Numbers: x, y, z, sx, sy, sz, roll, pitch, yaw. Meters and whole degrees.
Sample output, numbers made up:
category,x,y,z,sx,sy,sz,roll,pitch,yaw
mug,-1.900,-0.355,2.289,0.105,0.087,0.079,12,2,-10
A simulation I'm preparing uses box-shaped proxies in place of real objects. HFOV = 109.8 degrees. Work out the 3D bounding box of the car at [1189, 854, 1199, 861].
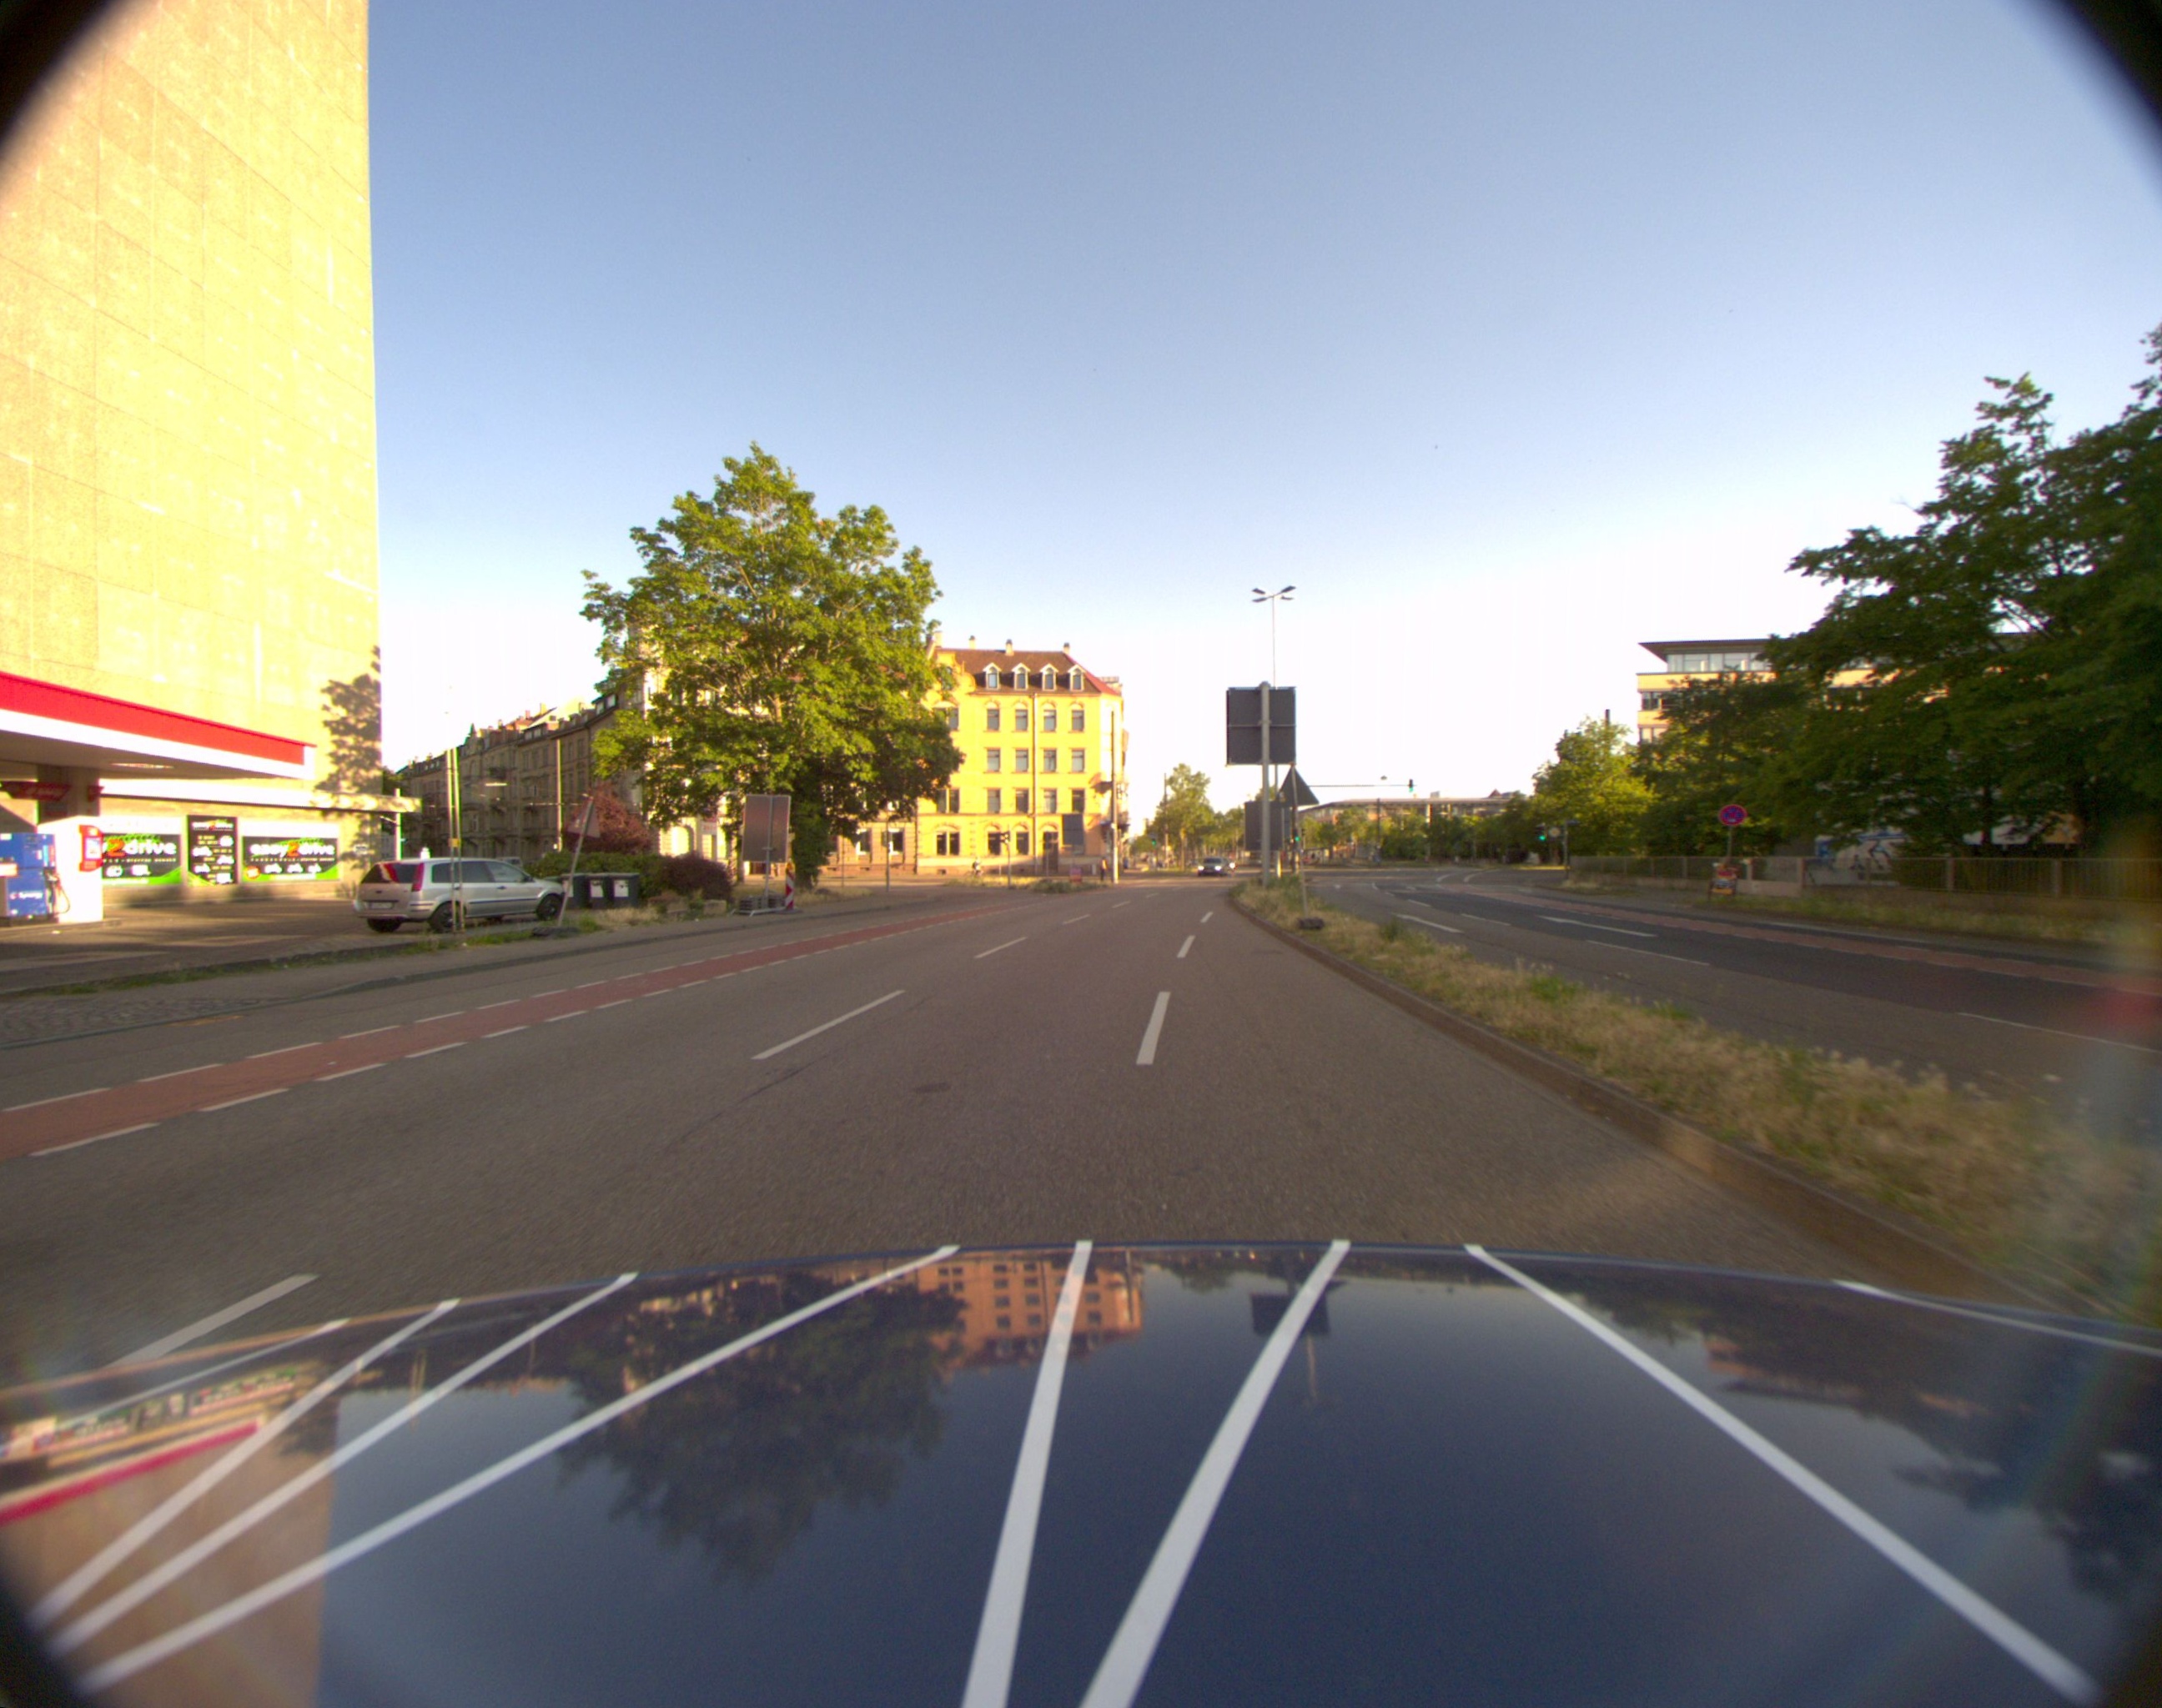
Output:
category,x,y,z,sx,sy,sz,roll,pitch,yaw
car,22.458,0.705,151.052,1.673,1.410,4.444,0,0,10

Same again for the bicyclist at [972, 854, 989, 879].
category,x,y,z,sx,sy,sz,roll,pitch,yaw
bicyclist,-6.486,0.805,49.181,1.065,1.639,0.732,-1,1,-5

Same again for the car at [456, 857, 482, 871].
category,x,y,z,sx,sy,sz,roll,pitch,yaw
car,-70.049,1.124,87.022,3.109,1.536,1.682,-2,1,40

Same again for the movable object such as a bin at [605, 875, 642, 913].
category,x,y,z,sx,sy,sz,roll,pitch,yaw
movable object such as a bin,-12.629,1.100,20.984,0.544,1.013,0.688,0,1,7

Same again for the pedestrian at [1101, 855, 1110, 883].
category,x,y,z,sx,sy,sz,roll,pitch,yaw
pedestrian,1.506,0.908,47.018,0.500,1.693,0.472,0,1,6

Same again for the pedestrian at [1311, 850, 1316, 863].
category,x,y,z,sx,sy,sz,roll,pitch,yaw
pedestrian,36.514,0.411,119.196,0.556,2.002,0.664,-1,1,2

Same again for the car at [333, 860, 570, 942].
category,x,y,z,sx,sy,sz,roll,pitch,yaw
car,-13.535,0.924,16.663,1.687,1.508,3.798,0,1,9

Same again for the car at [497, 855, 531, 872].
category,x,y,z,sx,sy,sz,roll,pitch,yaw
car,-58.742,0.953,78.676,3.988,1.677,2.004,0,0,41

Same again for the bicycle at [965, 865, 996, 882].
category,x,y,z,sx,sy,sz,roll,pitch,yaw
bicycle,-6.488,1.260,49.142,1.927,1.053,0.451,0,1,-6

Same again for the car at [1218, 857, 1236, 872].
category,x,y,z,sx,sy,sz,roll,pitch,yaw
car,14.815,1.023,77.362,1.584,1.440,3.874,-2,0,7

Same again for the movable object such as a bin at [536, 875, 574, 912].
category,x,y,z,sx,sy,sz,roll,pitch,yaw
movable object such as a bin,-14.793,1.108,21.368,0.544,1.013,0.688,0,1,7

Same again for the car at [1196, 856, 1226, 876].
category,x,y,z,sx,sy,sz,roll,pitch,yaw
car,9.959,0.883,58.497,1.819,1.440,4.668,-2,0,4

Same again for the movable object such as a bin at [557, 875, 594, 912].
category,x,y,z,sx,sy,sz,roll,pitch,yaw
movable object such as a bin,-14.130,1.098,21.253,0.544,1.013,0.688,0,1,7

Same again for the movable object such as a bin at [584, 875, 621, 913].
category,x,y,z,sx,sy,sz,roll,pitch,yaw
movable object such as a bin,-13.345,1.111,21.210,0.544,1.013,0.688,0,1,7
